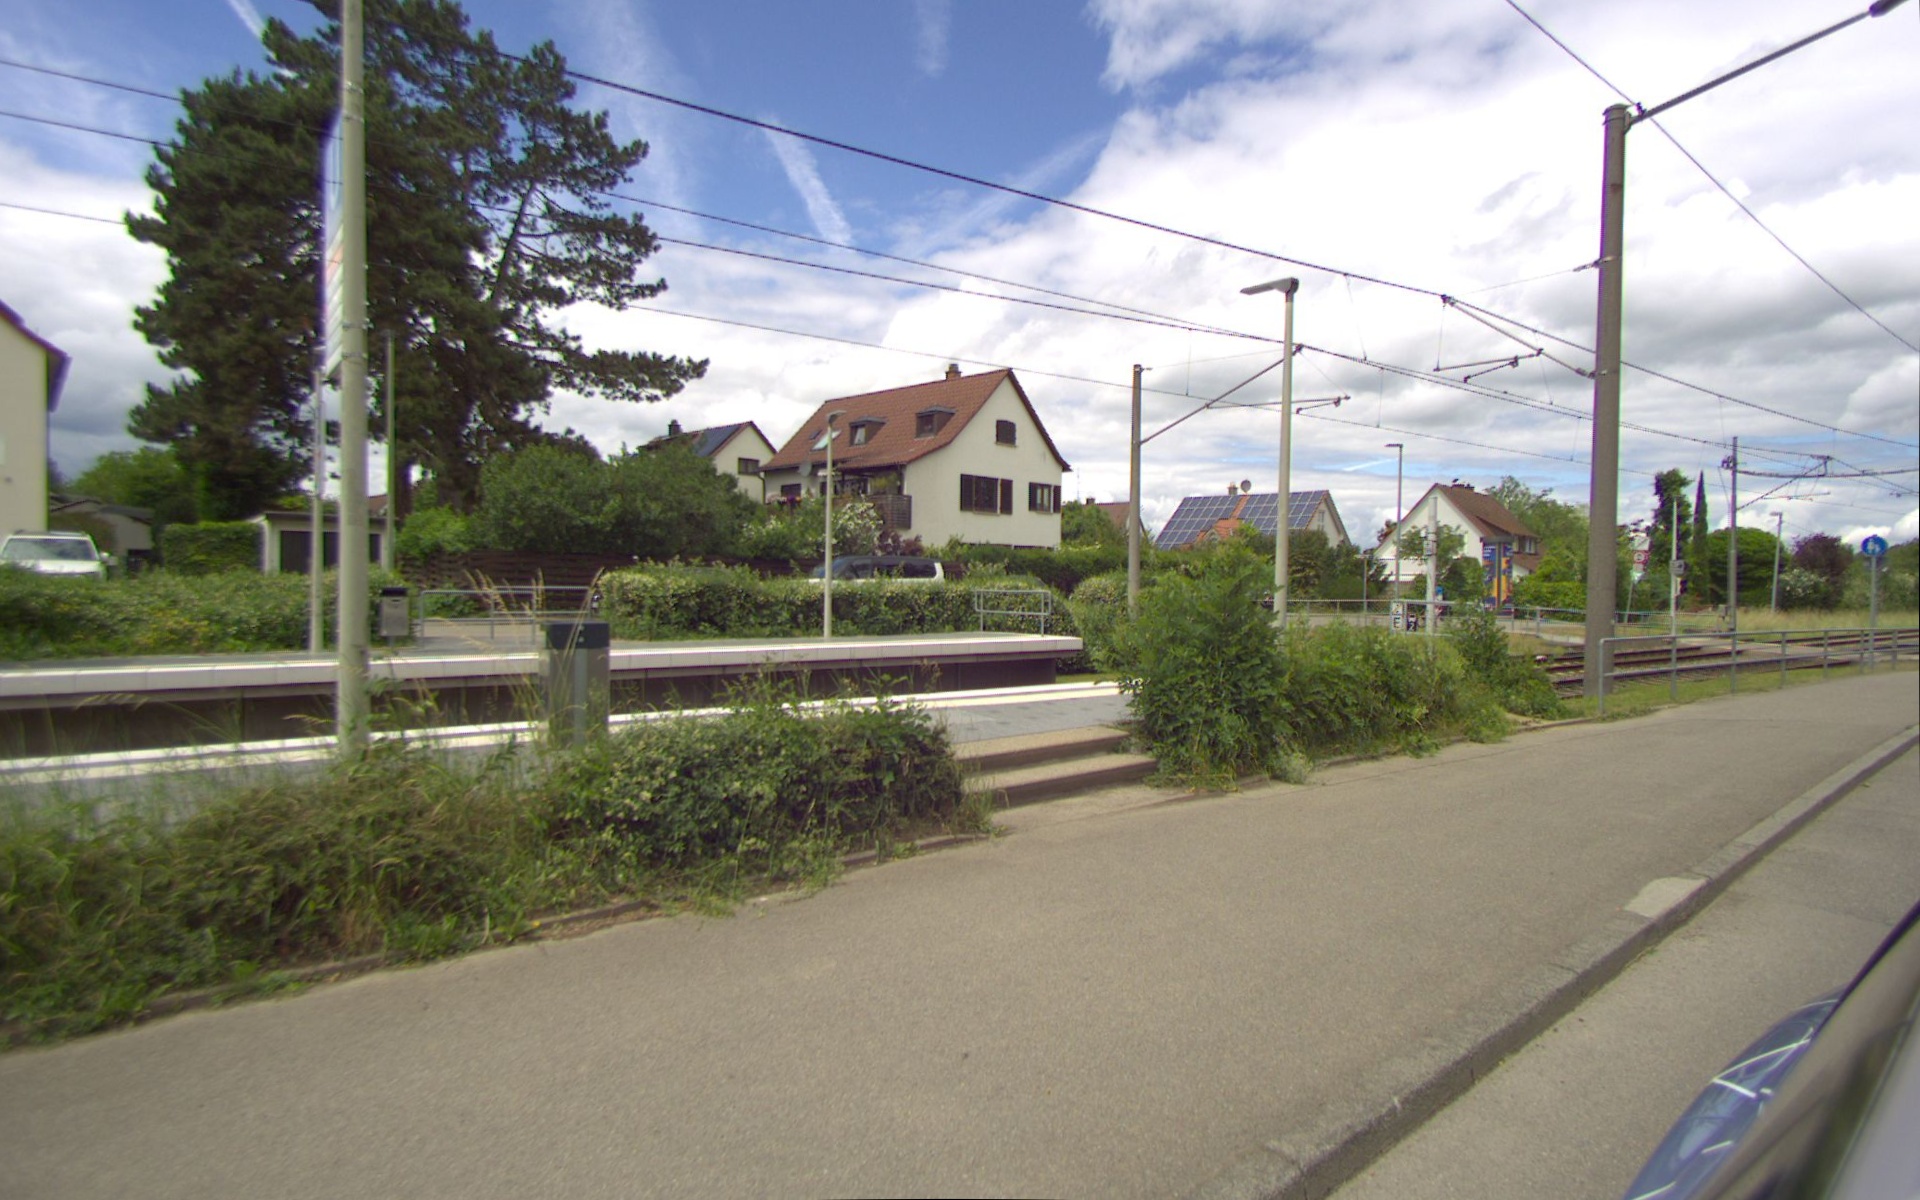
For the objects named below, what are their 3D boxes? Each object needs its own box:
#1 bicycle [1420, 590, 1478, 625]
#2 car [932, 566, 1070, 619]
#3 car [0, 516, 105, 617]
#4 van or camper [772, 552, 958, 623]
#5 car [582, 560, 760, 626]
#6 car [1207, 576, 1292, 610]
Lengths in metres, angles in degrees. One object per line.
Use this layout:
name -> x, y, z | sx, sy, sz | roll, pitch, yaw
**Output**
bicycle -> 17.391, 0.268, 35.992 | 2.490, 1.056, 0.541 | 3, 8, -35
car -> 1.299, -0.248, 31.444 | 3.923, 1.541, 1.890 | 0, 1, -34
car -> -19.863, -0.798, 22.168 | 1.715, 1.967, 4.338 | 0, 4, -40
van or camper -> -2.626, -0.372, 28.630 | 4.952, 1.848, 1.912 | 0, 1, -35
car -> -7.260, -0.201, 25.494 | 3.923, 1.541, 1.890 | 0, 1, -34
car -> 14.632, -0.374, 51.206 | 3.716, 1.643, 1.798 | 1, 1, 41
